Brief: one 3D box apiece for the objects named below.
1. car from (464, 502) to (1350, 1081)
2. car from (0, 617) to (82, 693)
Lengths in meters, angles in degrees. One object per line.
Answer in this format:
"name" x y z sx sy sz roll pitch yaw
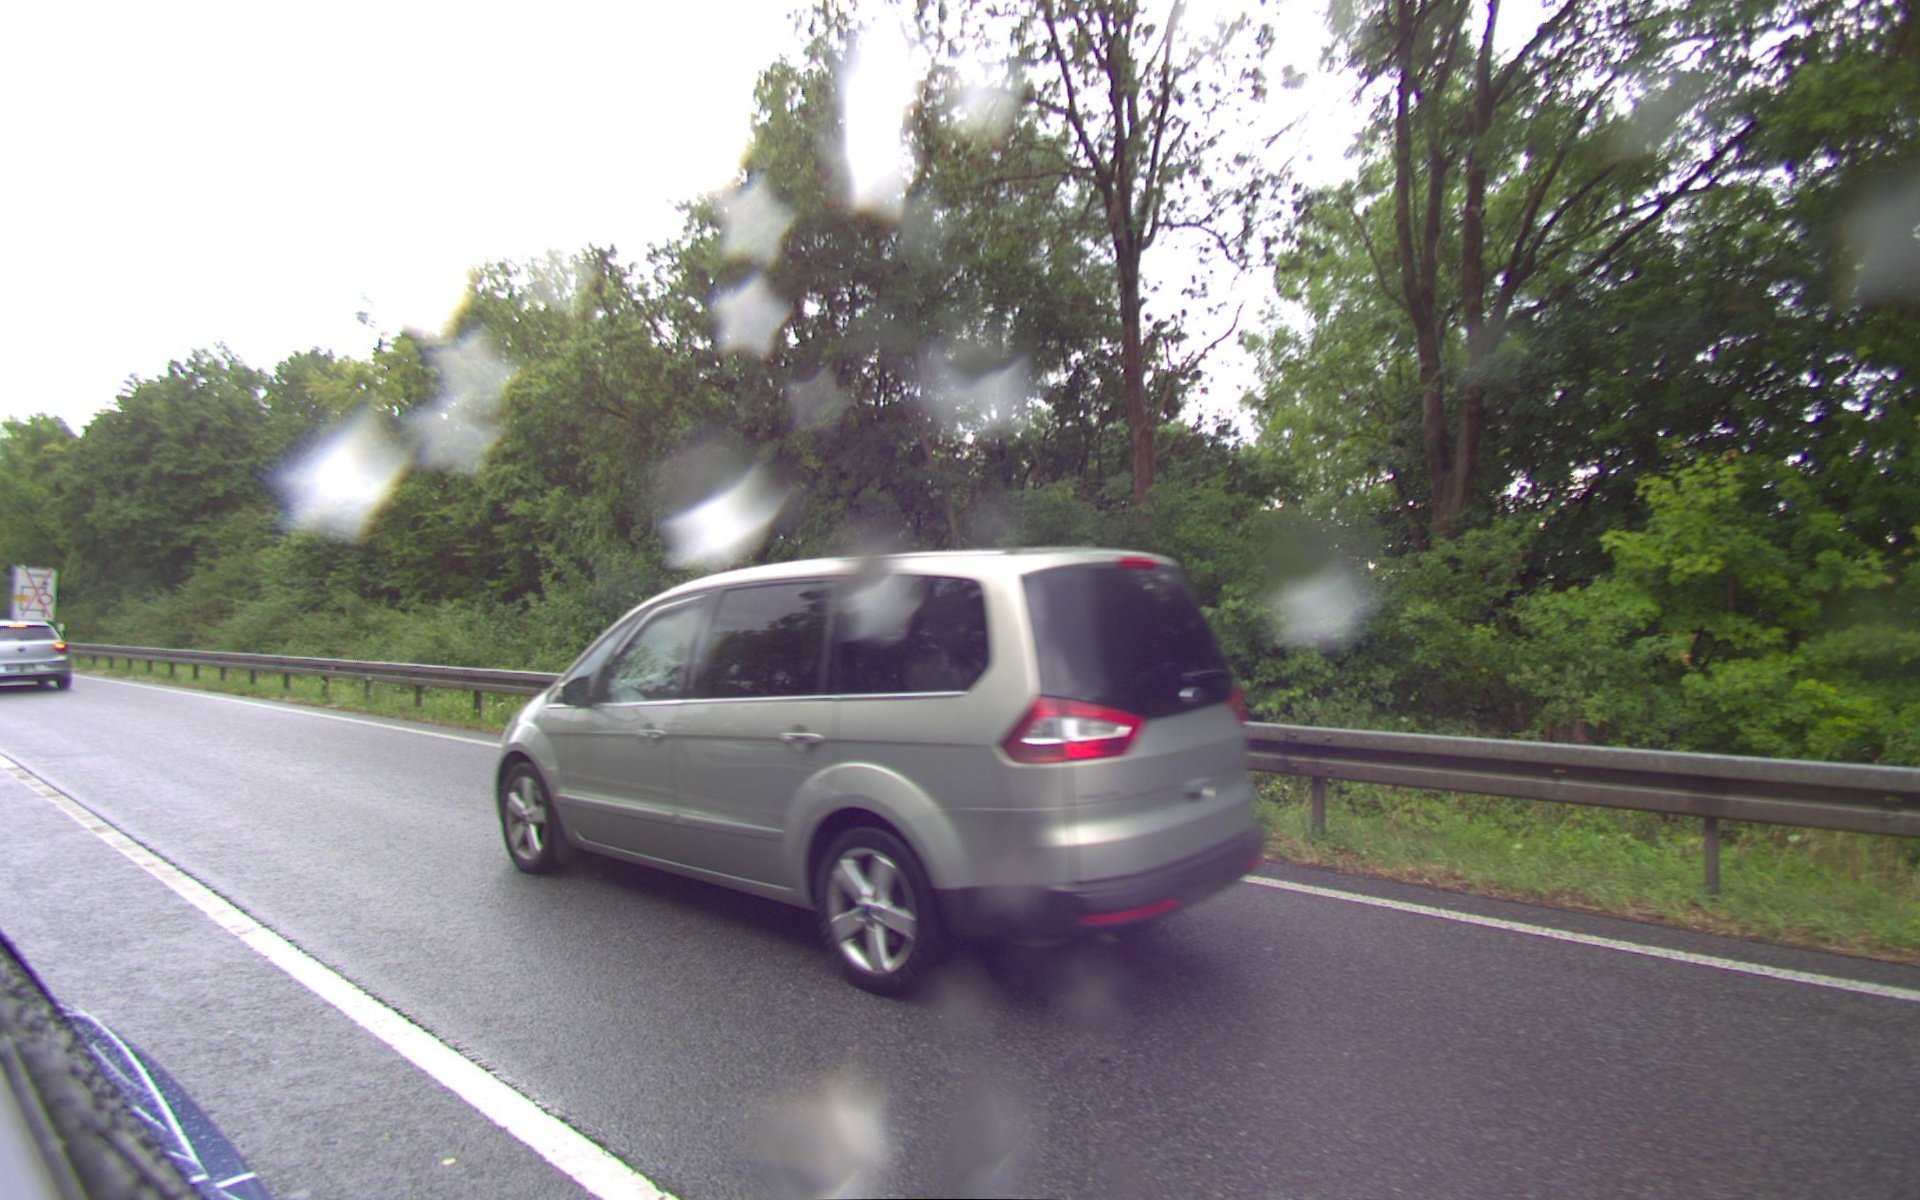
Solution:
"car" -0.650 0.567 5.190 4.621 1.699 1.796 0 0 42
"car" -20.150 1.117 21.511 3.847 1.442 1.710 0 0 40
